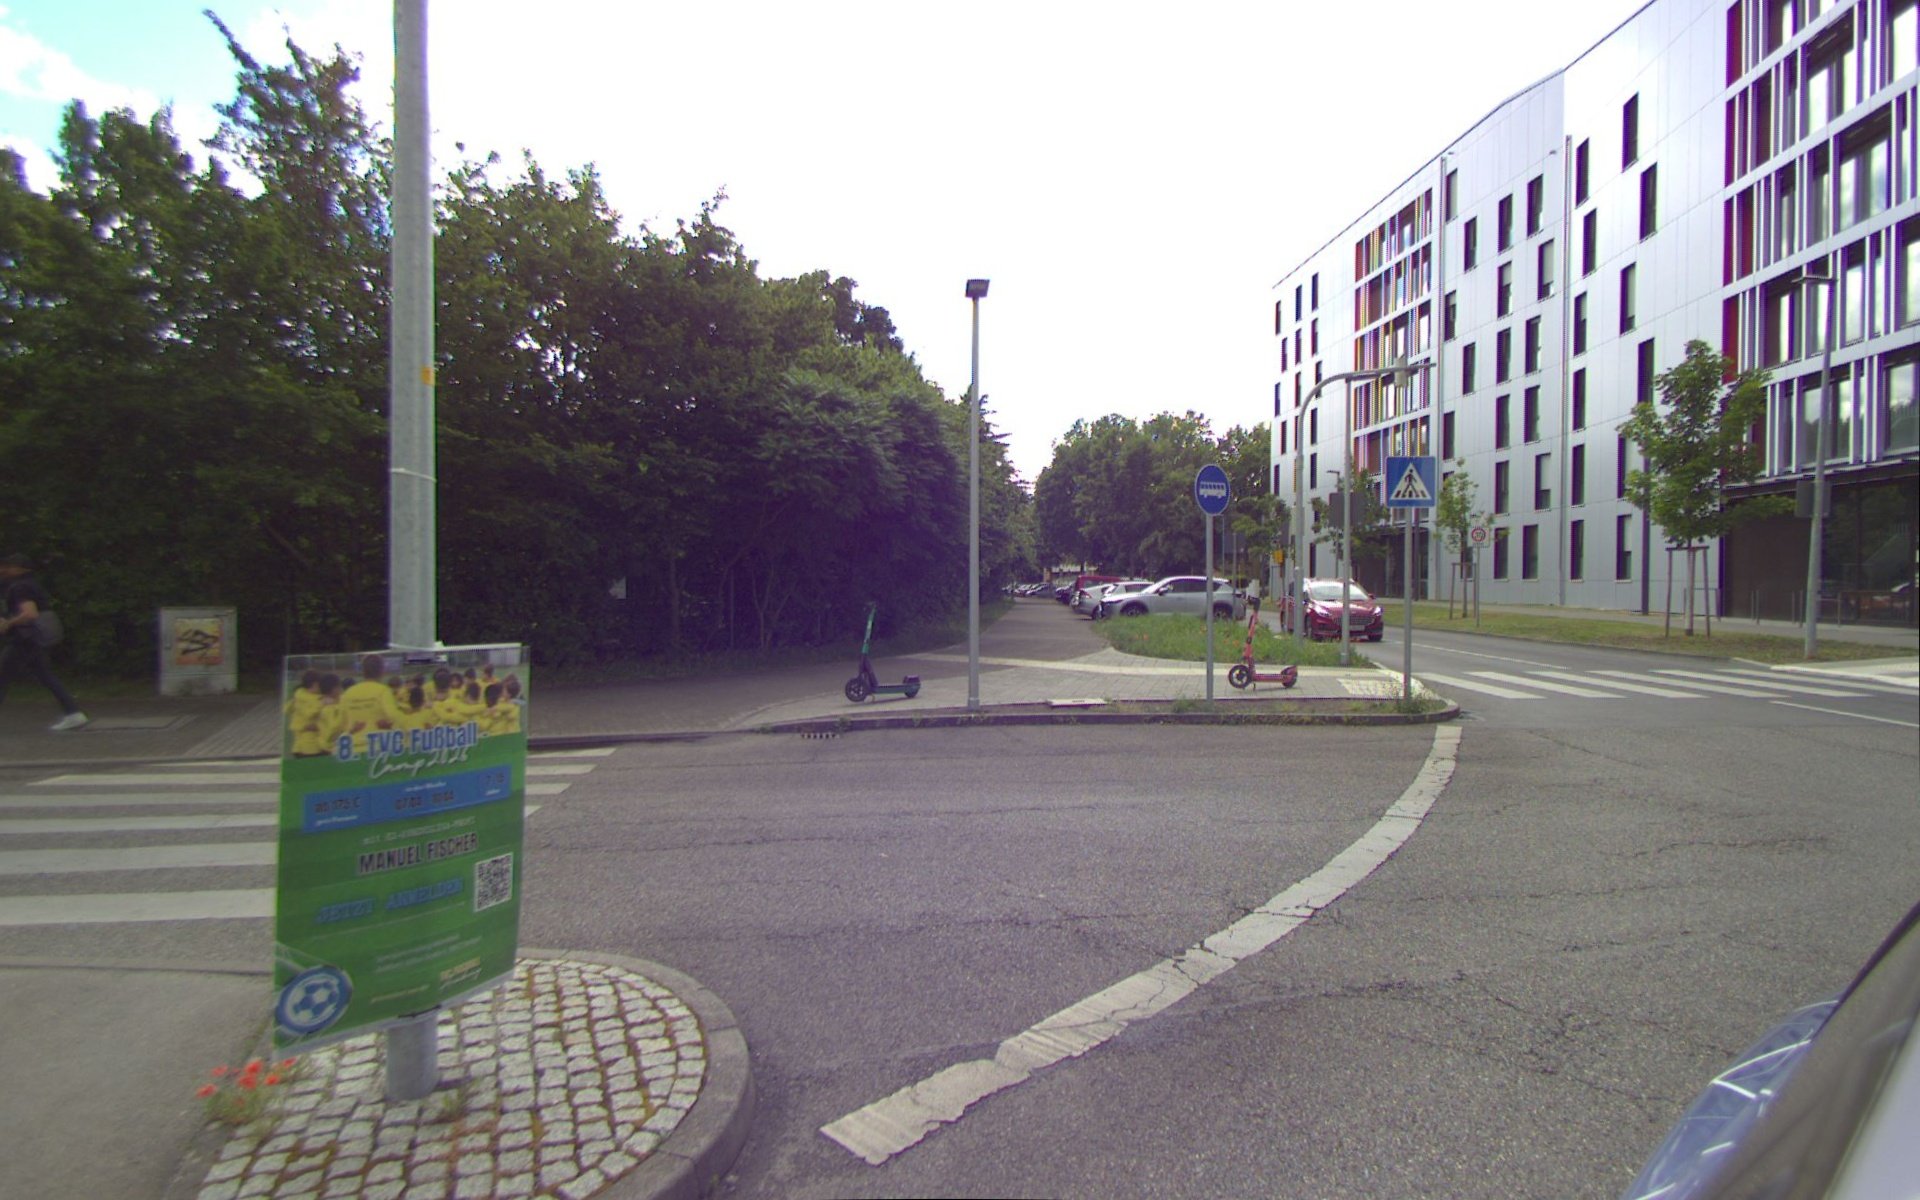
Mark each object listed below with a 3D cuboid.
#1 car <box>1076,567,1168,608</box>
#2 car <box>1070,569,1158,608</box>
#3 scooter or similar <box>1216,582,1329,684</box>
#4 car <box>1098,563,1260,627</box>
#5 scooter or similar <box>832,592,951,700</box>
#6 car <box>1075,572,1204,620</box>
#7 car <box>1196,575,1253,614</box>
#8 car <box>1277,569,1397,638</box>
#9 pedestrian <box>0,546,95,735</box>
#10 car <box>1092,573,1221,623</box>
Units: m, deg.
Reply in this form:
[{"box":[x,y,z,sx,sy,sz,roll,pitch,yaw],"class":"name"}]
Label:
[{"box":[7.897,-0.605,49.545,4.216,1.916,1.836,1,1,3],"class":"car"},{"box":[8.313,-0.635,54.922,4.482,1.923,1.883,2,1,3],"class":"car"},{"box":[4.285,0.428,13.872,1.494,1.329,0.573,-1,1,-27],"class":"scooter or similar"},{"box":[6.798,-0.168,31.828,4.576,1.774,2.069,2,1,1],"class":"car"},{"box":[-0.885,0.570,13.334,1.470,1.290,0.621,-3,2,-41],"class":"scooter or similar"},{"box":[6.494,-0.163,36.982,4.410,1.582,1.910,2,1,3],"class":"car"},{"box":[11.831,-0.277,45.486,1.786,1.638,3.995,0,1,5],"class":"car"},{"box":[10.011,0.041,27.231,1.900,1.652,4.238,-2,1,5],"class":"car"},{"box":[-9.577,0.388,10.259,0.964,1.845,0.859,0,1,-20],"class":"pedestrian"},{"box":[6.647,-0.082,34.584,4.093,1.606,1.795,1,1,3],"class":"car"}]
